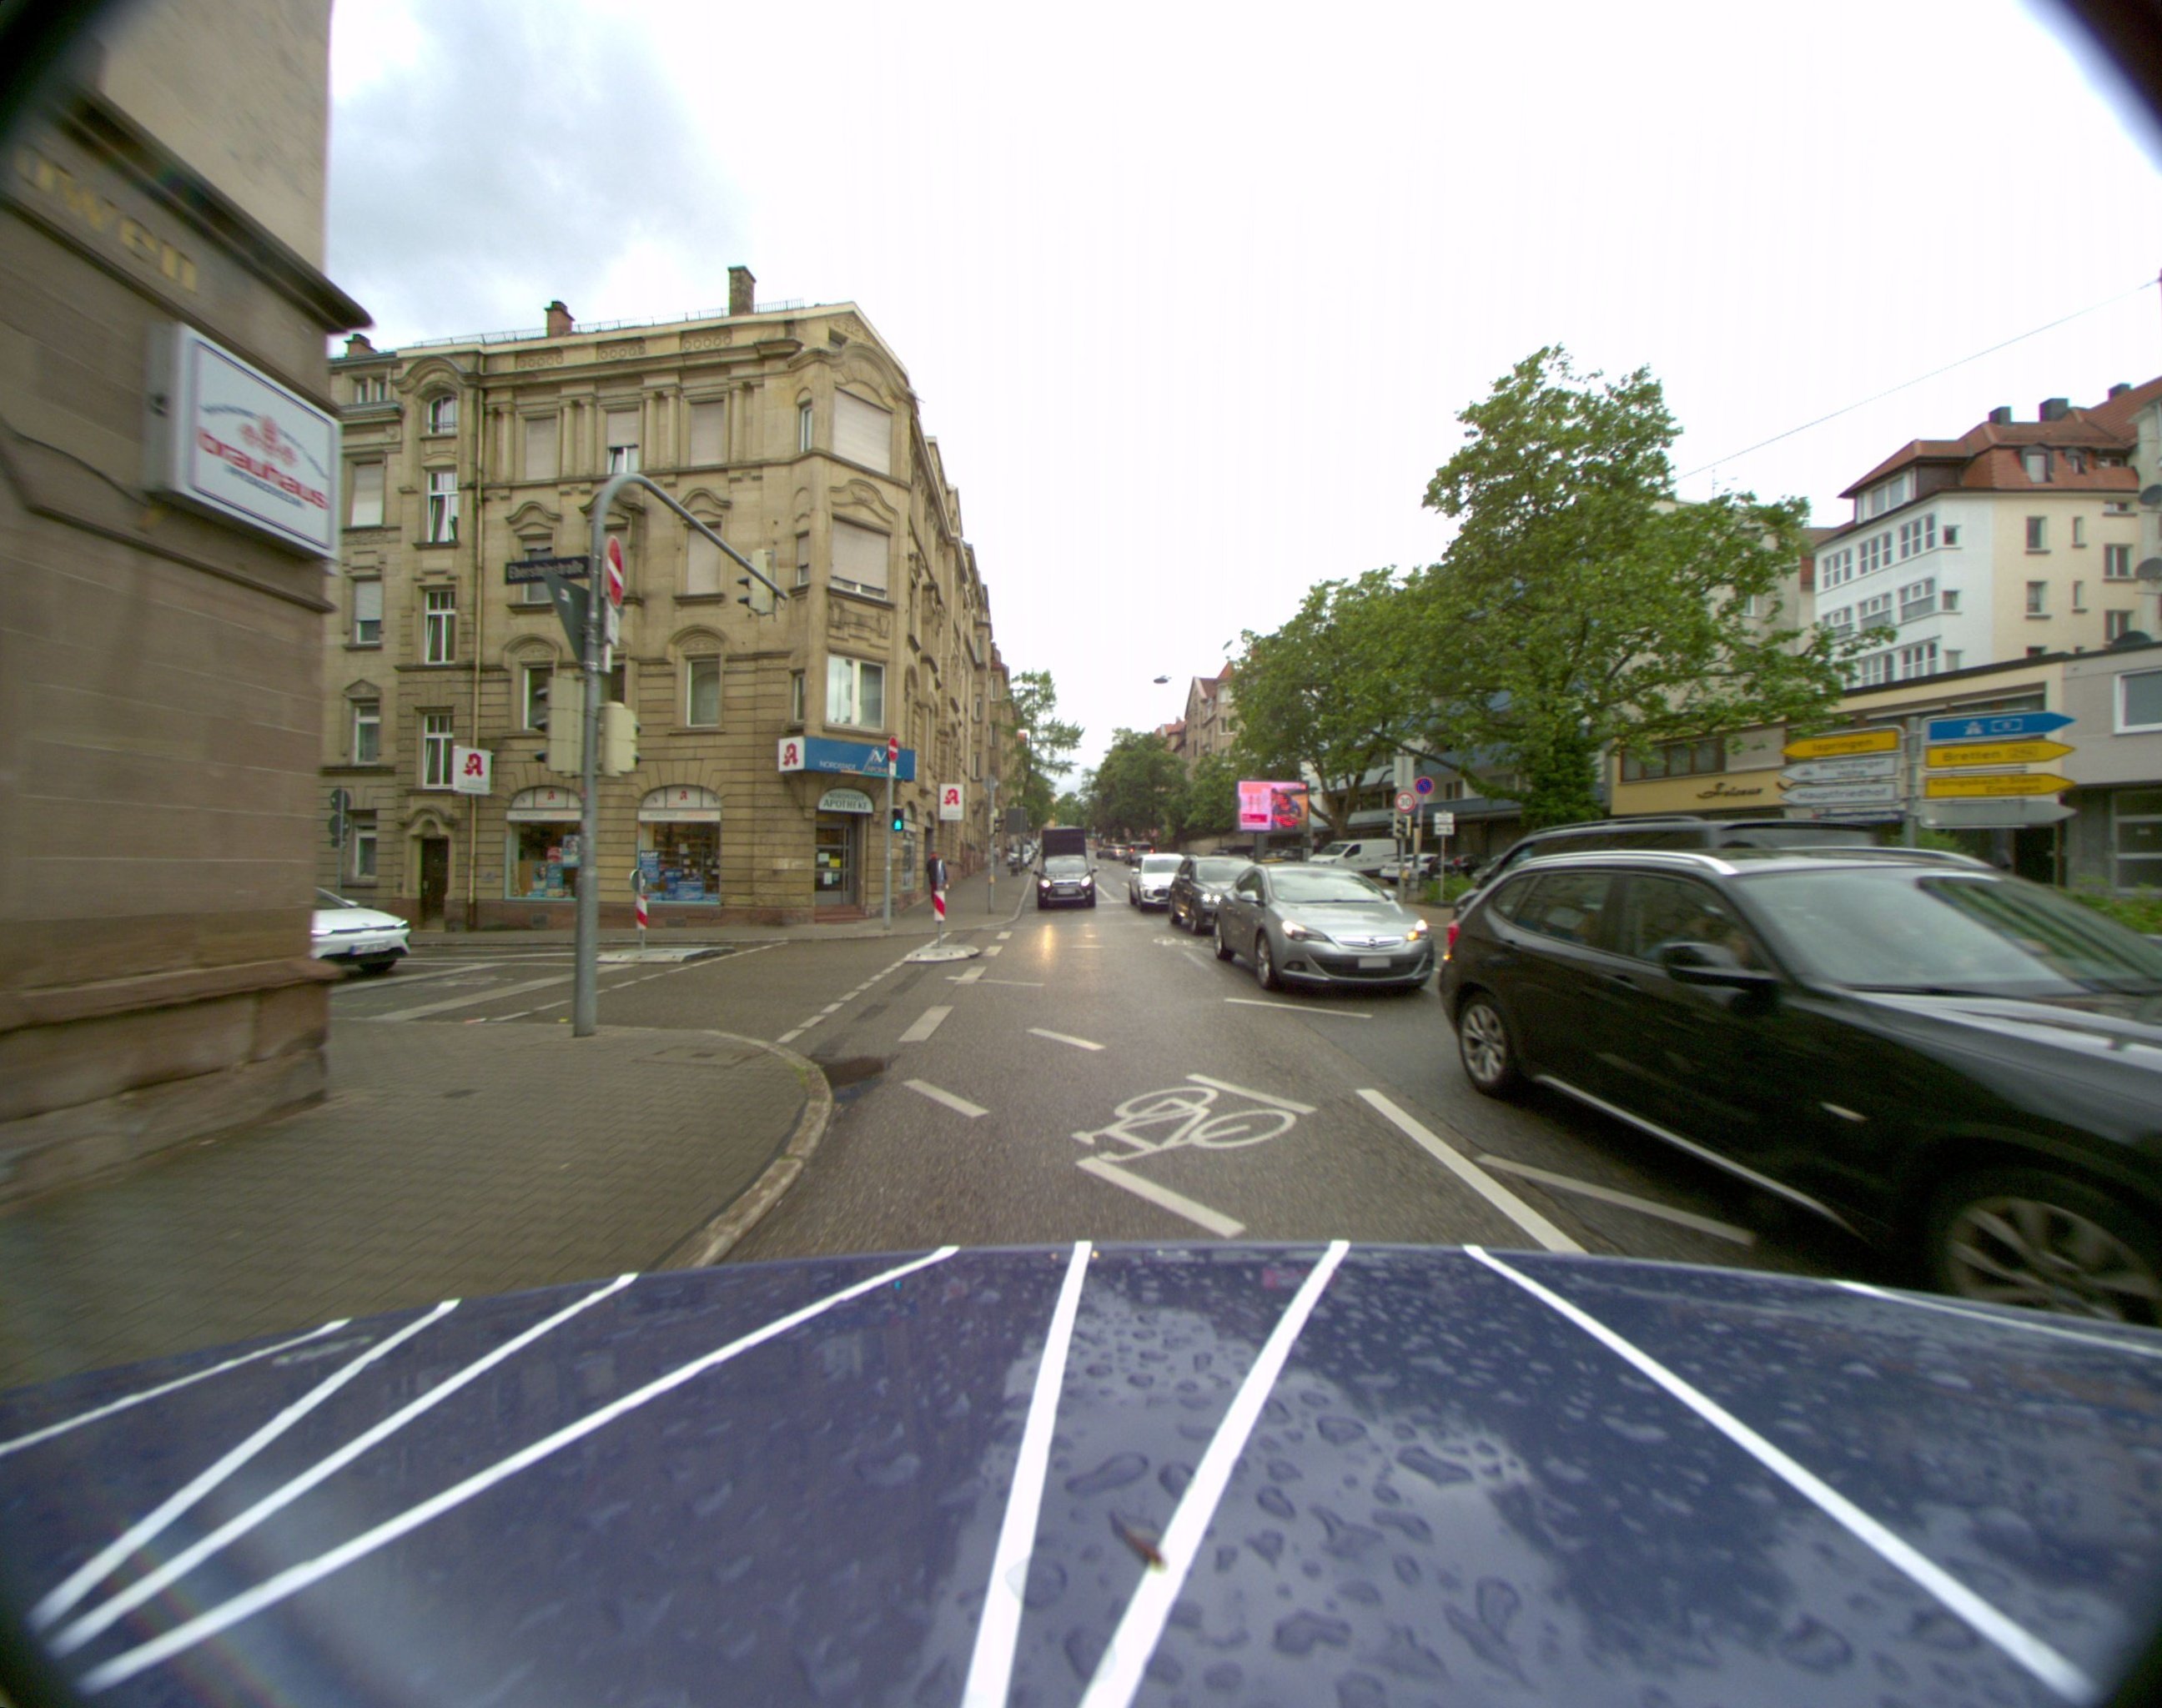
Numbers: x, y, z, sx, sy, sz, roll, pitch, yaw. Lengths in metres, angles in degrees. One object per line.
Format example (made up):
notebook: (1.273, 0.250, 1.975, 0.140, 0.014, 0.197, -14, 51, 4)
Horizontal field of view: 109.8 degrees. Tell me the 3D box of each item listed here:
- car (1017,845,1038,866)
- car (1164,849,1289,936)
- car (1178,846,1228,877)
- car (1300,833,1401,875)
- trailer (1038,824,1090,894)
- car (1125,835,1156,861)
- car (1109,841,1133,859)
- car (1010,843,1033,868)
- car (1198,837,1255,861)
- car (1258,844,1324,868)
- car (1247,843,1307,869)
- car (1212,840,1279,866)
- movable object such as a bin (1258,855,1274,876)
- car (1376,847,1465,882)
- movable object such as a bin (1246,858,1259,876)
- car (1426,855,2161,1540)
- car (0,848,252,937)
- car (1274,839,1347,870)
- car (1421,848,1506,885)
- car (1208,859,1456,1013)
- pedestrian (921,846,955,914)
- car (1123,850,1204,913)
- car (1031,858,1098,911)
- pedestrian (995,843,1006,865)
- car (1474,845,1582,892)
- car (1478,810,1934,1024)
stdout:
car: (-4.341, 0.098, 62.311, 1.547, 1.478, 3.760, 4, 1, -3)
car: (3.043, 0.768, 16.795, 1.757, 1.635, 4.212, -1, -1, -3)
car: (6.133, 0.354, 38.647, 1.718, 1.488, 3.681, -1, 1, -3)
car: (14.112, -0.041, 39.721, 4.982, 1.966, 1.876, -2, 2, -22)
trailer: (-0.718, 0.161, 31.187, 1.939, 2.622, 4.682, -1, 1, -2)
car: (4.561, -0.498, 58.946, 1.818, 1.871, 4.239, 3, 1, -3)
car: (3.665, -0.382, 70.239, 1.731, 1.440, 4.322, 2, 1, -4)
car: (-4.383, 0.099, 56.273, 1.526, 1.609, 3.491, 4, 2, -3)
car: (10.716, -0.413, 55.841, 3.841, 1.523, 1.766, -4, 3, -30)
car: (13.257, 0.092, 47.973, 3.840, 1.397, 1.687, -1, 2, -23)
car: (12.926, 0.114, 50.060, 3.842, 1.398, 1.676, -4, 4, -33)
car: (11.323, -0.096, 52.230, 4.317, 1.584, 1.807, -3, 3, -26)
movable object such as a bin: (9.630, 0.607, 39.596, 0.643, 1.073, 0.627, -1, 2, -5)
car: (15.526, 0.455, 34.759, 3.710, 1.408, 1.808, -2, 2, -28)
movable object such as a bin: (8.999, 0.680, 39.895, 0.485, 0.896, 0.546, -1, 2, -5)
car: (3.327, 0.800, 3.160, 1.757, 1.526, 4.214, -1, 0, -2)
car: (-22.367, 0.889, 17.839, 4.172, 1.888, 1.843, -2, 0, 8)
car: (13.525, 0.000, 44.807, 3.840, 1.680, 1.802, -1, 2, -21)
car: (16.434, 0.488, 32.614, 3.628, 1.408, 1.626, -2, 2, -32)
car: (2.881, 0.838, 9.737, 1.756, 1.474, 4.180, -1, 0, -1)
pedestrian: (-4.200, 0.746, 22.416, 0.699, 1.939, 1.090, 0, 3, 6)
car: (2.442, 0.754, 23.506, 1.757, 1.635, 4.376, -1, 2, -4)
car: (-0.467, 0.925, 24.901, 1.861, 1.504, 3.682, 0, 1, 4)
pedestrian: (-5.714, 0.003, 53.796, 0.645, 1.489, 0.690, 3, 5, -3)
car: (17.688, 0.513, 30.038, 4.223, 1.633, 1.936, -2, 2, -32)
car: (6.463, 0.505, 8.625, 1.746, 1.836, 4.145, 0, 1, 1)
